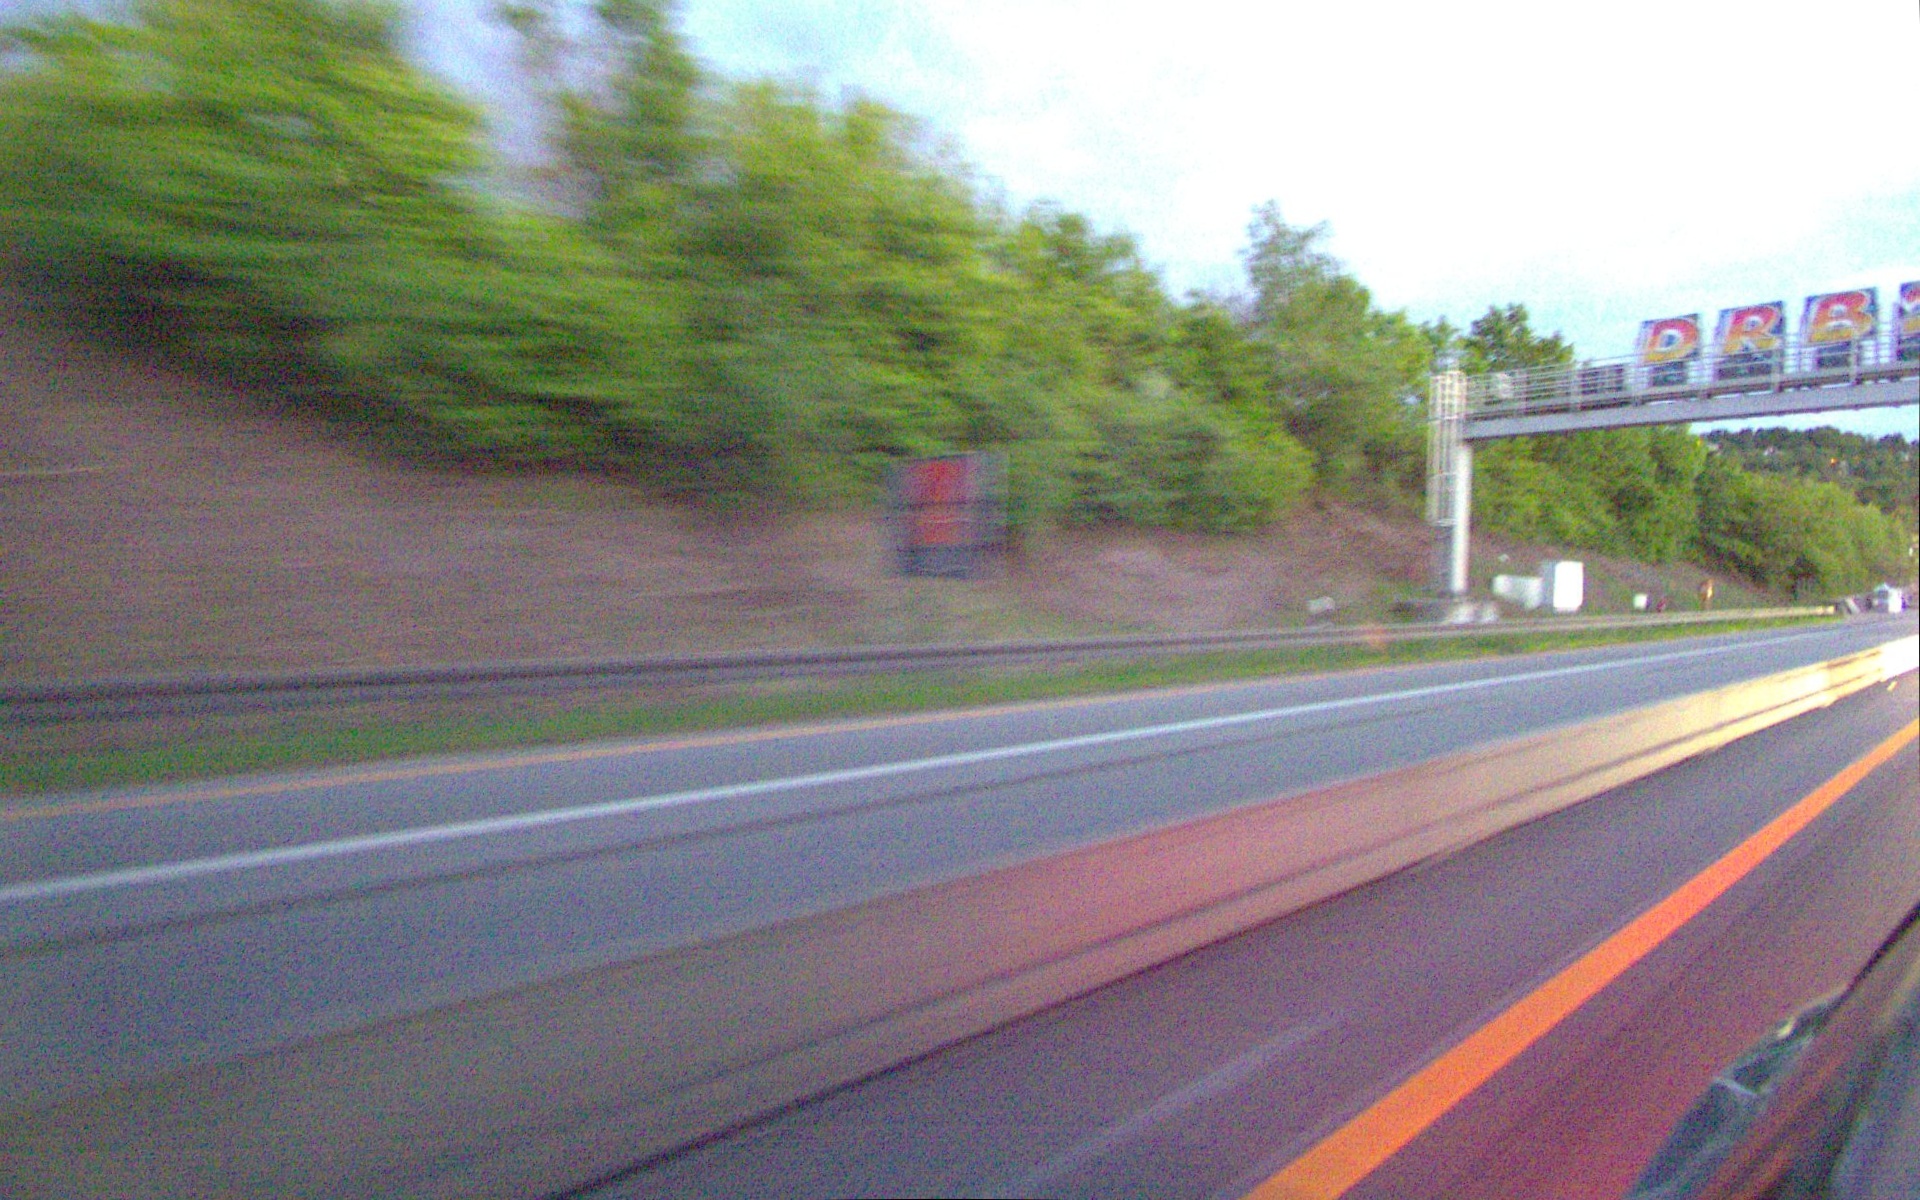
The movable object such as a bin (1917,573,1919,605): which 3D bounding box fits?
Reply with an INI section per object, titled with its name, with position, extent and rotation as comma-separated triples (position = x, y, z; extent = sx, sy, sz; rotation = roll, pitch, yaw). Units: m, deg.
[movable object such as a bin]
position = 96.675, -1.074, 100.133
extent = 5.711, 3.146, 2.623
rotation = -1, 2, -44
